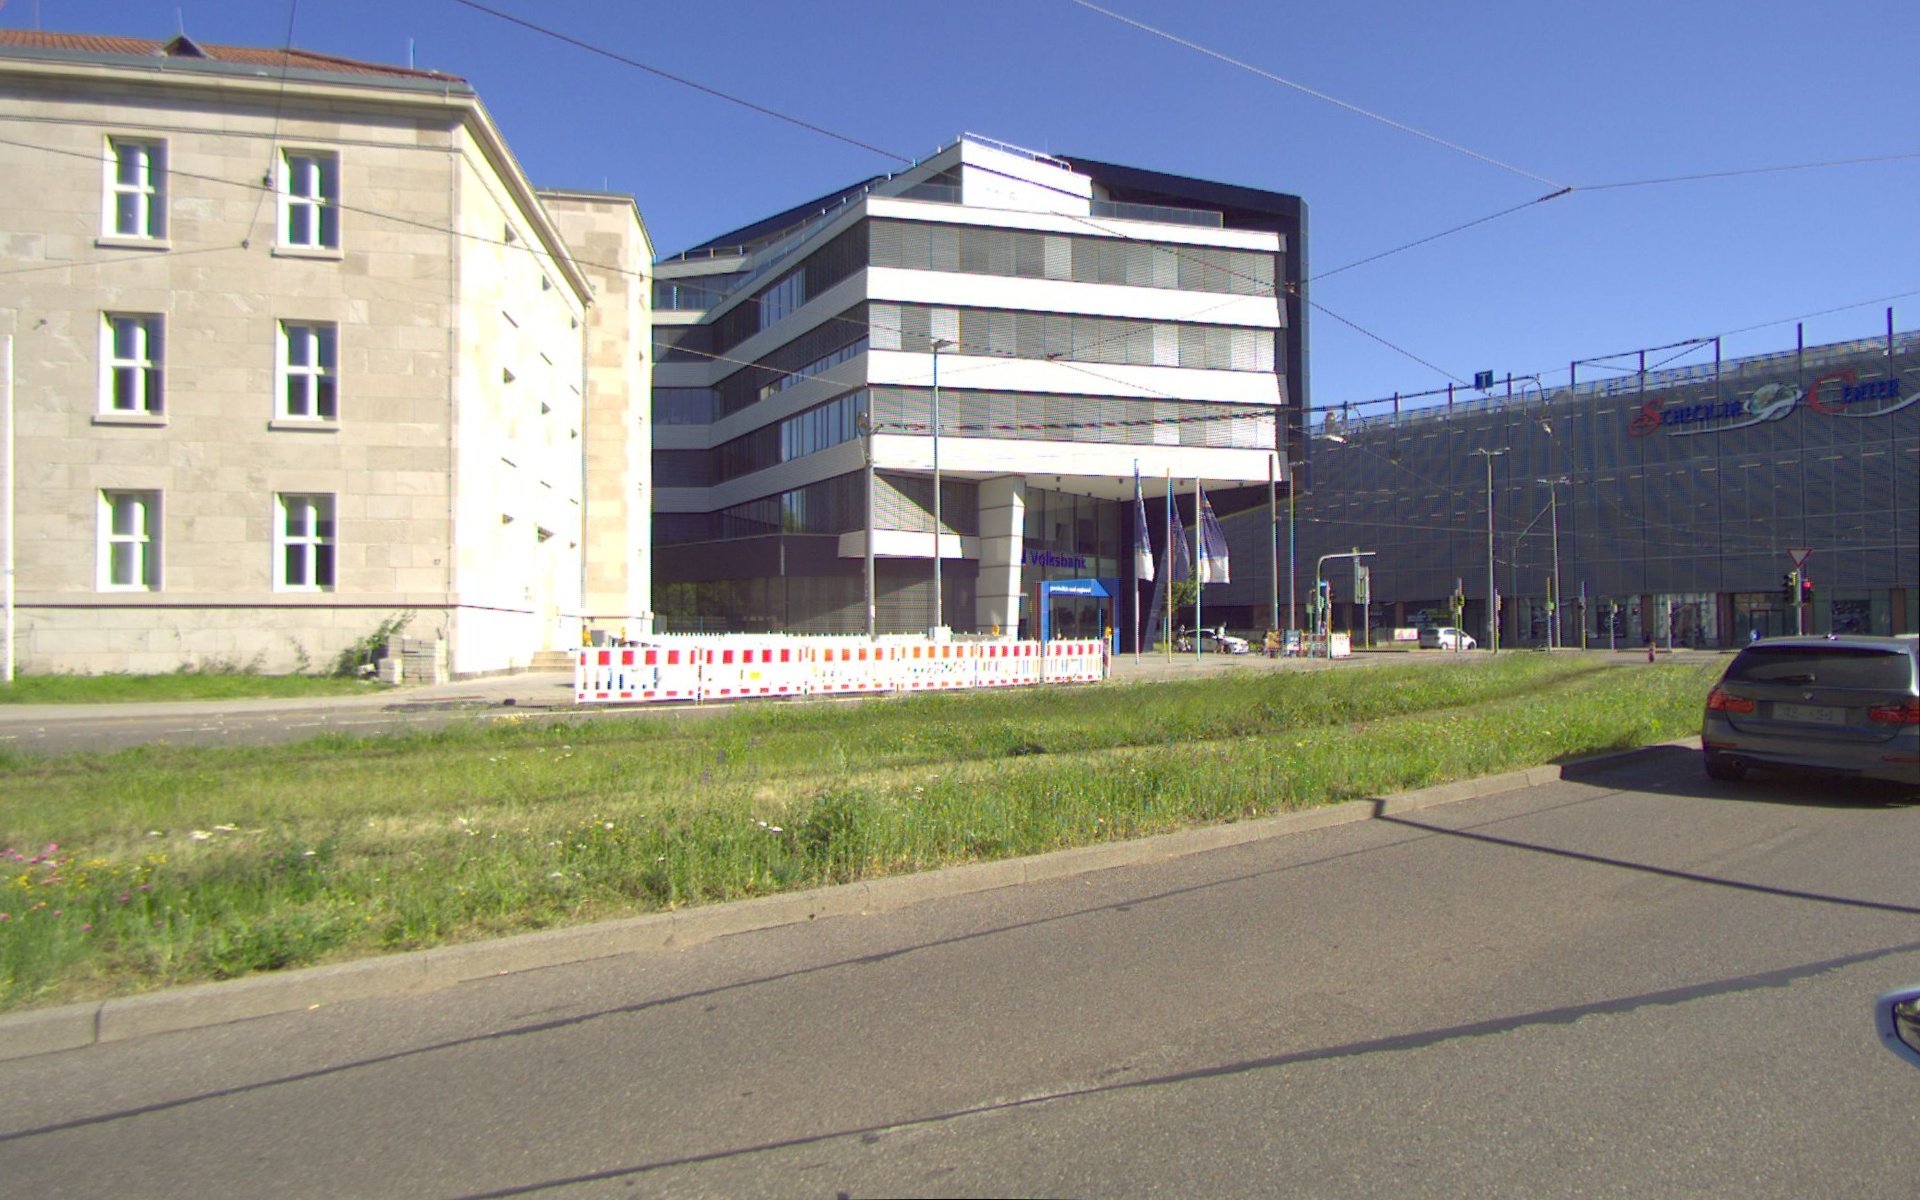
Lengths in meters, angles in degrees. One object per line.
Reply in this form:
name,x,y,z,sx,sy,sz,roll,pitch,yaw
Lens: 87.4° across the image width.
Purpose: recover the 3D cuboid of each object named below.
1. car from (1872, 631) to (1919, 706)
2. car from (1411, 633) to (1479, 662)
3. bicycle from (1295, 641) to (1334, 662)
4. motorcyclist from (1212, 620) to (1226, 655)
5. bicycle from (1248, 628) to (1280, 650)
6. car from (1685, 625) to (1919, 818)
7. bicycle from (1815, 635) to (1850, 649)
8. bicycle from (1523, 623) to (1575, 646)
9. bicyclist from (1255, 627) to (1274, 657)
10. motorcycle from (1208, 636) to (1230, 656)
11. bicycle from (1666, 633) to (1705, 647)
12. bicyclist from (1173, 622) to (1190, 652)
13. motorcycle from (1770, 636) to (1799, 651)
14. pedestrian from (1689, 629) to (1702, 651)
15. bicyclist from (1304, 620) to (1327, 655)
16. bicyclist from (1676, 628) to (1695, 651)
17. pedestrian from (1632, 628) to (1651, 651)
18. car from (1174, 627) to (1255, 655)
car,20.350,1.417,21.153,1.614,1.442,3.762,2,0,42
car,33.043,3.212,68.410,3.931,1.817,1.754,2,-1,-13
bicycle,19.464,2.799,55.159,1.809,1.130,0.849,-2,-2,43
motorcyclist,15.101,2.167,58.555,0.621,2.040,0.495,-1,-2,42
bicycle,17.277,2.217,57.087,1.557,1.121,0.731,3,1,39
car,8.799,1.029,9.798,4.430,1.442,1.720,2,0,-40
bicycle,66.515,3.186,76.562,2.004,1.073,1.139,-2,-2,42
bicycle,53.452,3.100,91.219,3.944,2.040,1.322,-1,-1,43
bicyclist,17.296,2.380,57.060,0.773,1.670,0.687,-1,-2,40
motorcycle,15.110,2.654,58.534,1.173,1.136,0.481,-2,-2,42
bicycle,56.407,3.091,78.127,2.200,1.085,1.047,0,-2,2
bicyclist,13.453,2.251,60.984,0.754,1.812,0.760,-1,-2,39
motorcycle,61.593,3.253,75.050,0.493,1.073,1.639,1,-2,-38
pedestrian,61.254,3.311,83.655,0.839,1.787,0.617,-2,-2,42
bicyclist,19.521,2.056,55.129,0.892,1.884,0.849,-2,-2,43
bicyclist,56.405,3.061,78.105,0.828,1.827,0.816,0,-2,1
pedestrian,54.530,3.160,80.365,0.805,1.893,0.905,0,-1,-5
car,15.559,2.491,61.552,4.437,1.656,1.830,-2,-1,41
